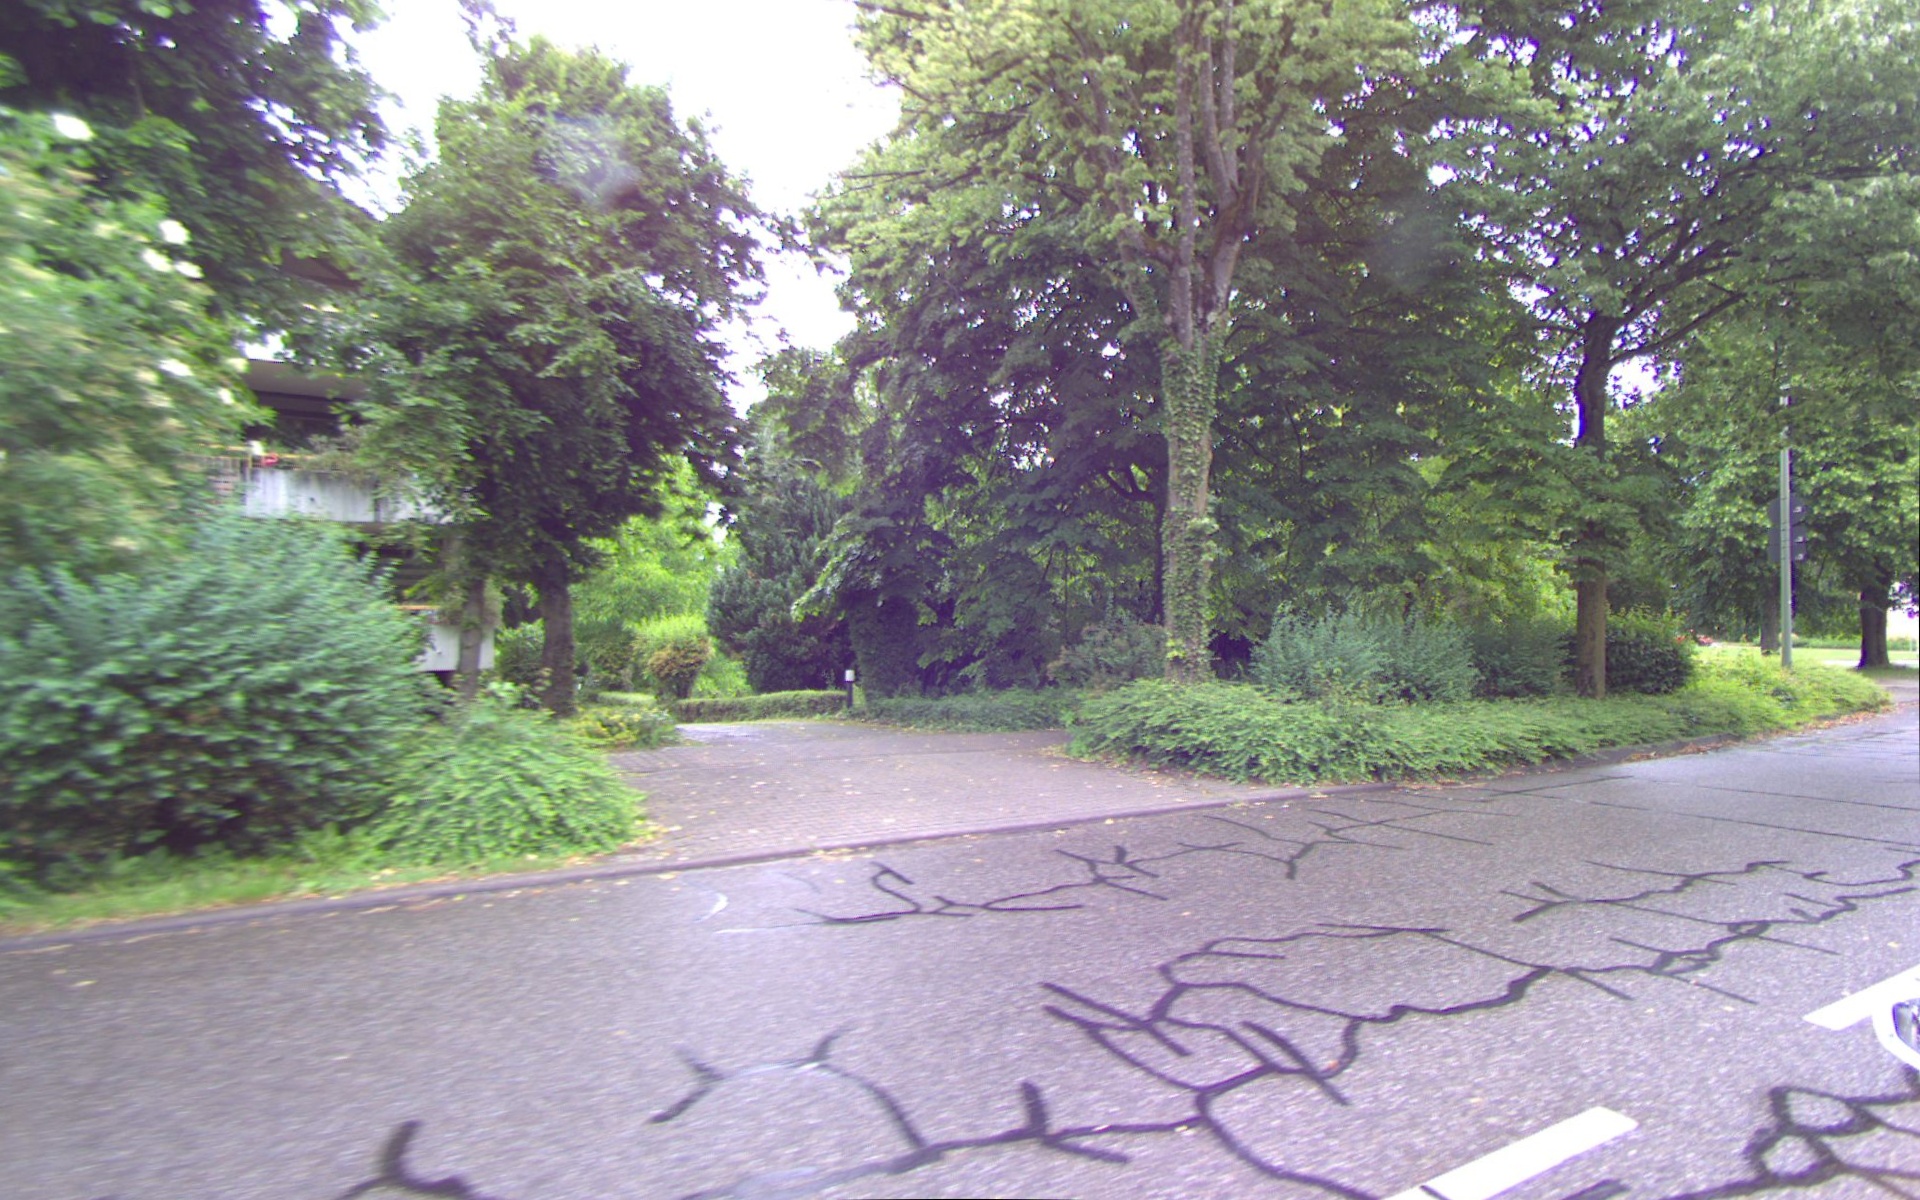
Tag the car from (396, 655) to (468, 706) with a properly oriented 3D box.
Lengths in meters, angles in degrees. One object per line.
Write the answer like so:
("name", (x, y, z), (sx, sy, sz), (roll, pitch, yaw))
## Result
("car", (-21.626, 3.244, 41.069), (1.810, 1.740, 3.954), (2, 0, -39))
